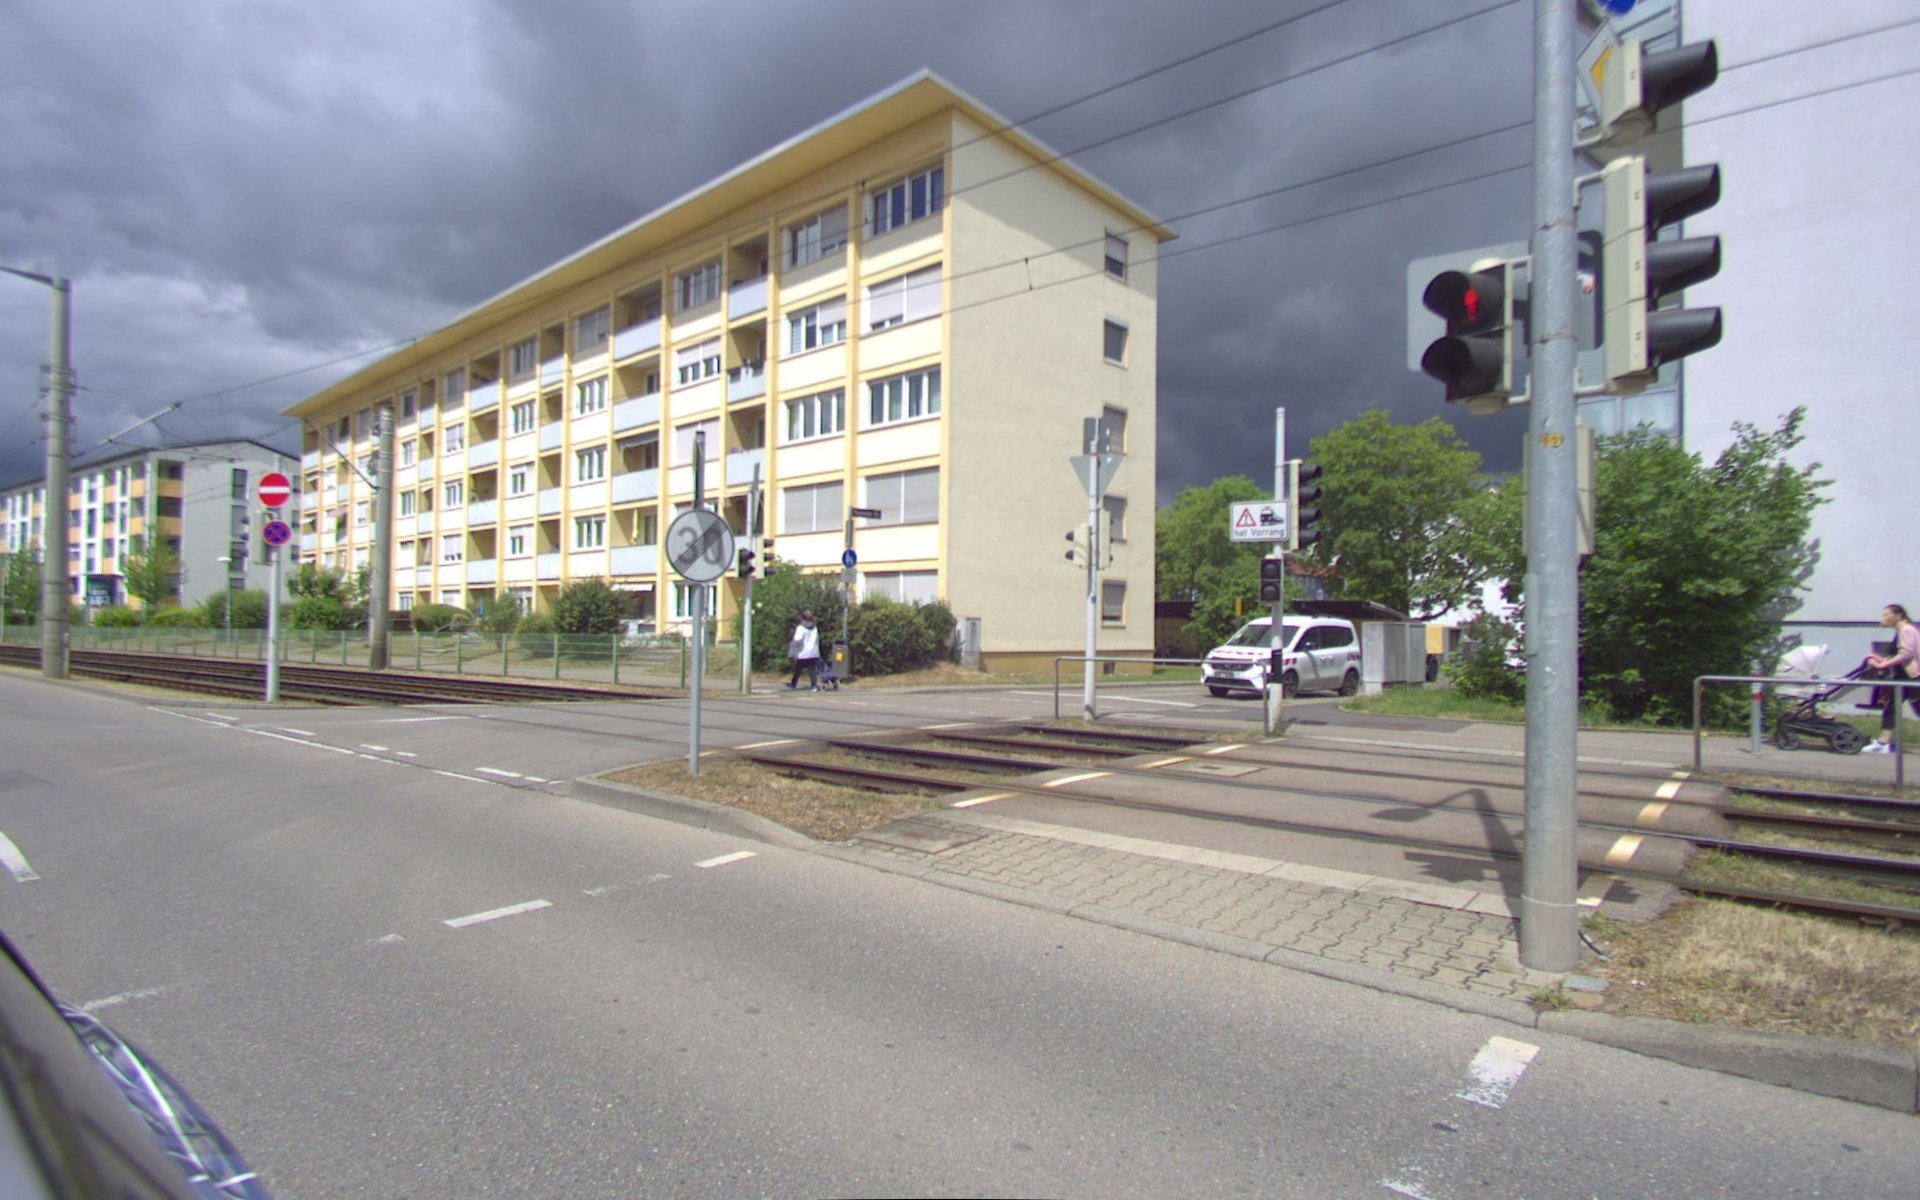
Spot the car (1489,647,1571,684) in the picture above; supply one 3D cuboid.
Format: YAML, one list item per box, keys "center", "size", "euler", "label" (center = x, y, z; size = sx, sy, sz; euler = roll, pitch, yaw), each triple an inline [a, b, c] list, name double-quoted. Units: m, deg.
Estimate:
- center: [23.364, 2.646, 41.453]
  size: [3.940, 1.304, 1.923]
  euler: [1, -2, -44]
  label: "car"

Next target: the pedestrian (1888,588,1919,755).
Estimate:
- center: [10.131, 0.732, 10.522]
  size: [0.679, 1.705, 0.638]
  euler: [-1, -1, 41]
  label: "pedestrian"

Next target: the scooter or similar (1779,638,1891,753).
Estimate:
- center: [9.538, 1.014, 11.048]
  size: [0.891, 1.172, 0.601]
  euler: [-1, -1, 41]
  label: "scooter or similar"

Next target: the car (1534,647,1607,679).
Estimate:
- center: [27.677, 2.820, 45.863]
  size: [3.940, 1.304, 1.923]
  euler: [1, -2, -44]
  label: "car"

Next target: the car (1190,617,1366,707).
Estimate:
- center: [6.953, 1.265, 21.923]
  size: [4.226, 1.742, 1.812]
  euler: [1, -2, -43]
  label: "car"

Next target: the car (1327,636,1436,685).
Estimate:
- center: [13.856, 1.947, 33.205]
  size: [3.940, 1.438, 1.923]
  euler: [1, -2, -44]
  label: "car"

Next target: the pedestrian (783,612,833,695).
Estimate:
- center: [-3.047, 1.064, 20.256]
  size: [0.773, 1.620, 0.598]
  euler: [-1, -3, 40]
  label: "pedestrian"

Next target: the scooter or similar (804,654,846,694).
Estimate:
- center: [-2.730, 1.495, 20.511]
  size: [0.665, 0.779, 0.527]
  euler: [-1, -3, 40]
  label: "scooter or similar"
